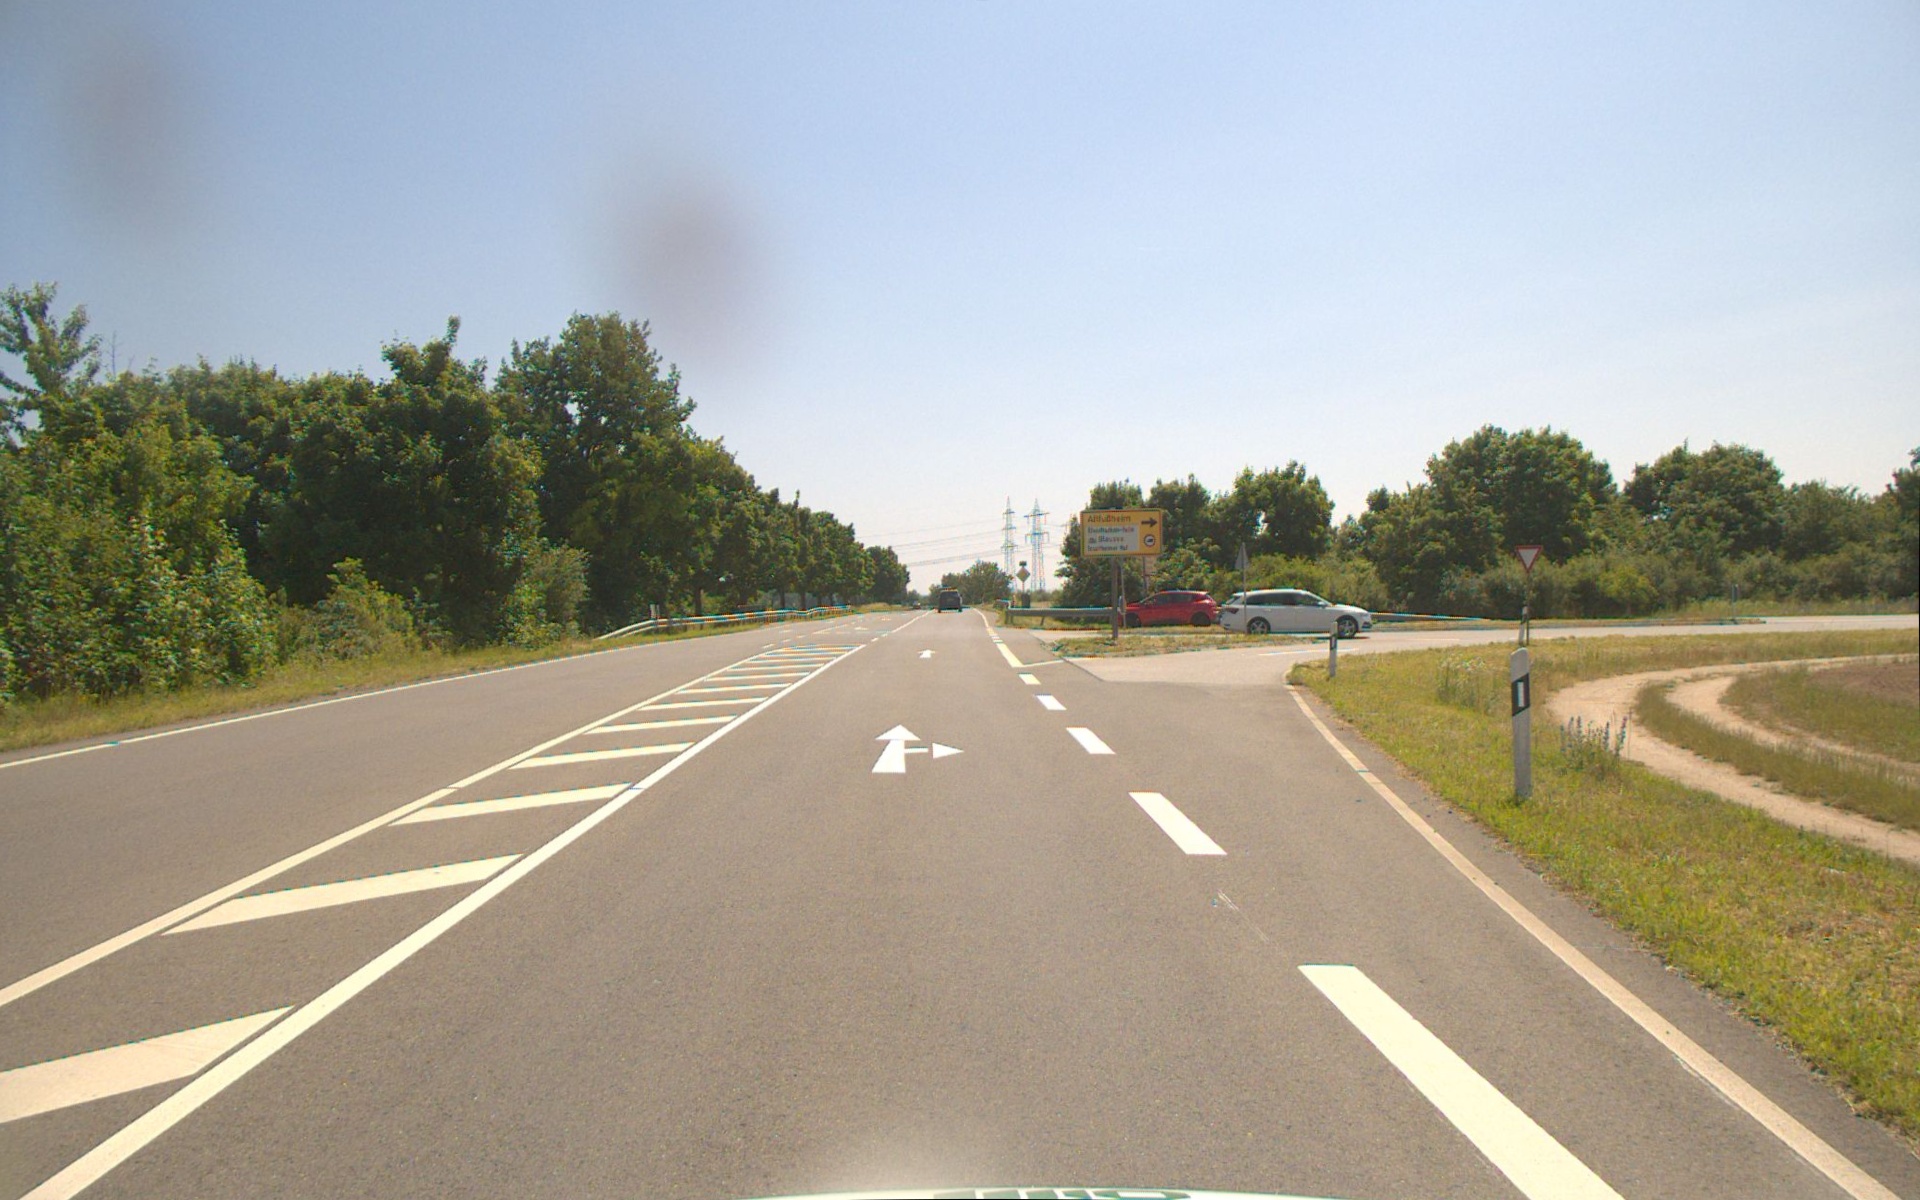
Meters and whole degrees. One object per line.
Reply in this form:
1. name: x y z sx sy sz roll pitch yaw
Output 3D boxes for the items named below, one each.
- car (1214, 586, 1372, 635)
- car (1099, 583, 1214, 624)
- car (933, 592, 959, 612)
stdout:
1. car: 10.143 0.313 50.692 4.600 1.443 1.843 0 0 7
2. car: 7.310 0.130 61.531 4.064 1.443 1.781 -1 0 13
3. car: -1.083 0.159 126.173 1.847 1.544 4.038 0 0 -2
